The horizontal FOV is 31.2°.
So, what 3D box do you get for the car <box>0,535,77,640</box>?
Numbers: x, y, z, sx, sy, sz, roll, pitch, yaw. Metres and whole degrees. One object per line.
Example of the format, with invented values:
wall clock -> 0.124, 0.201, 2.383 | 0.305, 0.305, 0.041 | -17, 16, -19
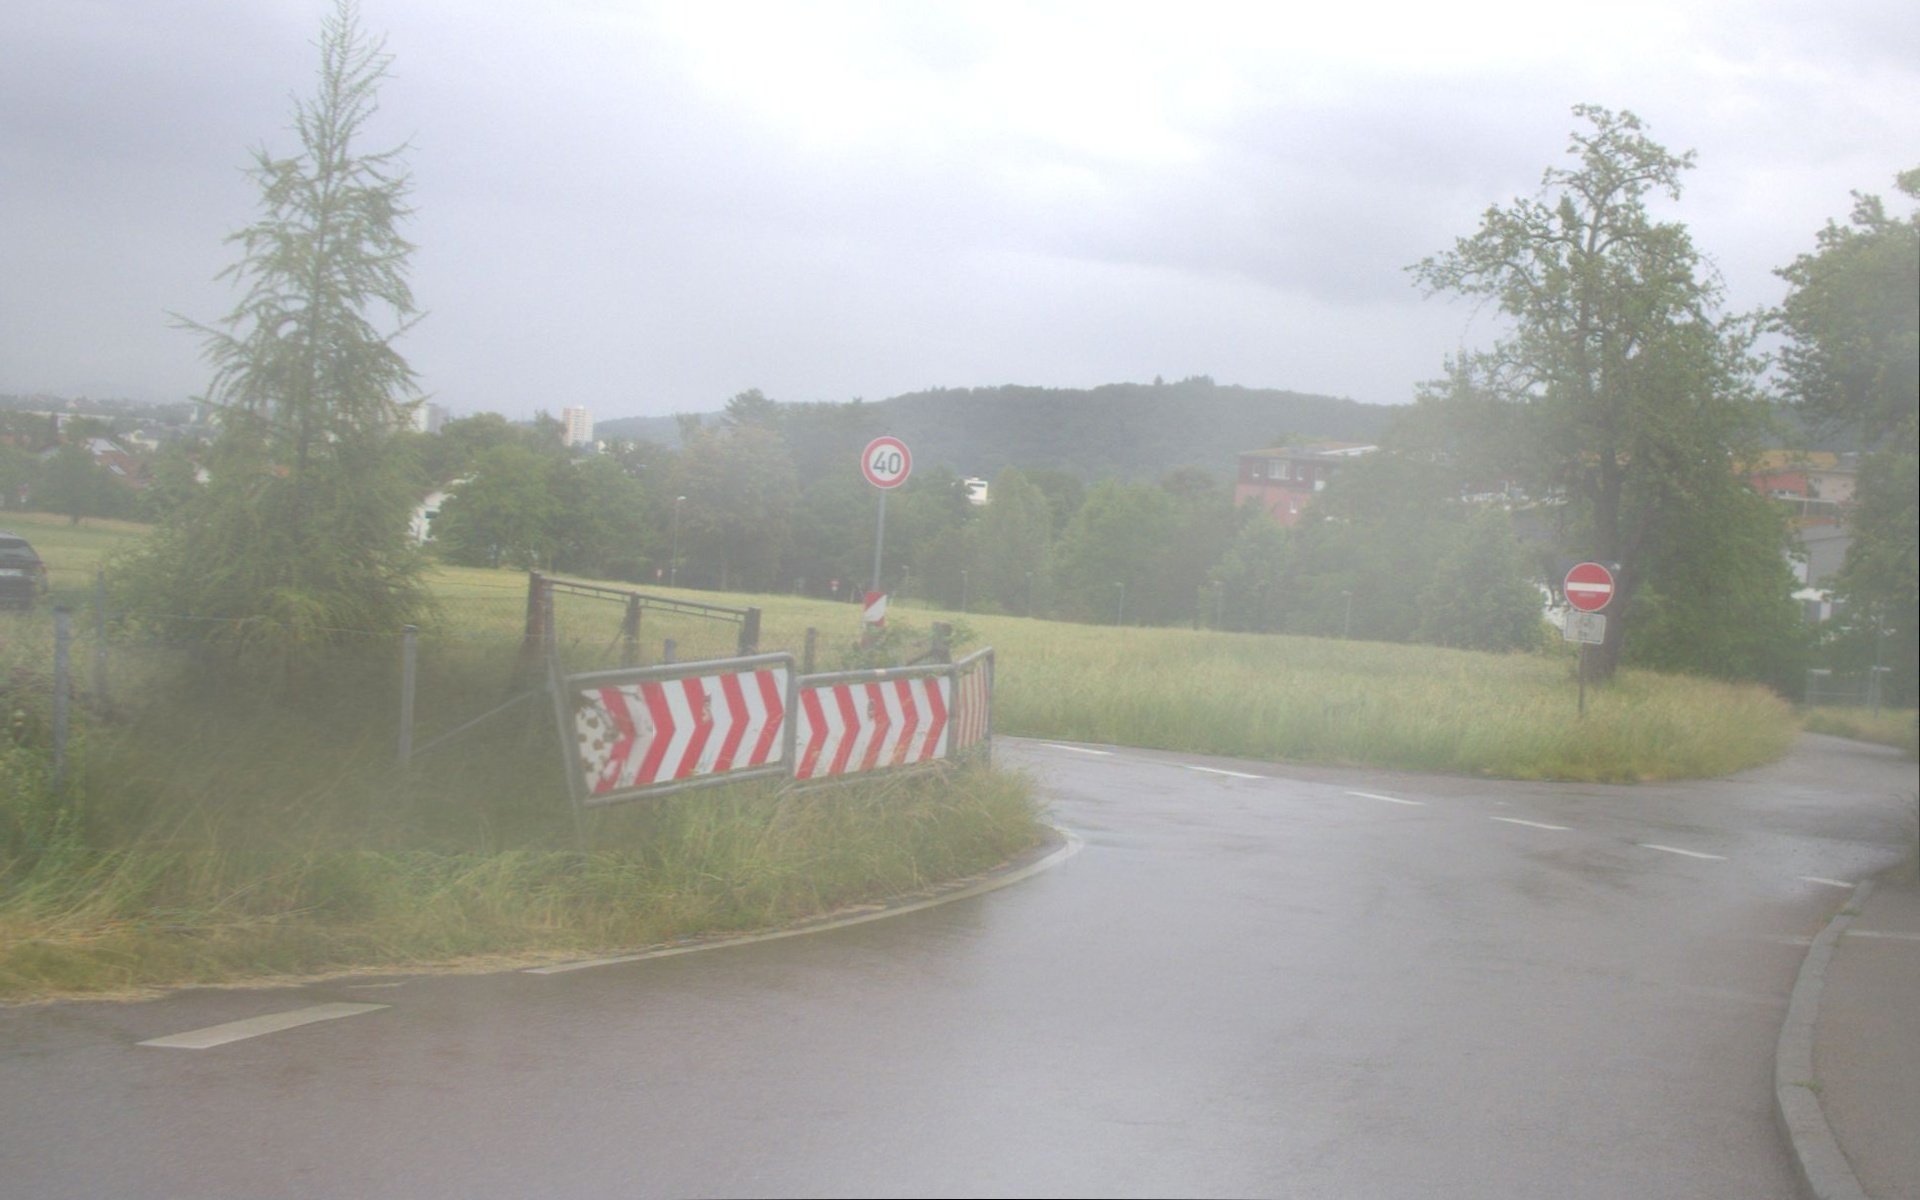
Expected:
car -> -15.806, -0.254, 54.942 | 1.815, 1.588, 3.999 | 3, 0, -37
